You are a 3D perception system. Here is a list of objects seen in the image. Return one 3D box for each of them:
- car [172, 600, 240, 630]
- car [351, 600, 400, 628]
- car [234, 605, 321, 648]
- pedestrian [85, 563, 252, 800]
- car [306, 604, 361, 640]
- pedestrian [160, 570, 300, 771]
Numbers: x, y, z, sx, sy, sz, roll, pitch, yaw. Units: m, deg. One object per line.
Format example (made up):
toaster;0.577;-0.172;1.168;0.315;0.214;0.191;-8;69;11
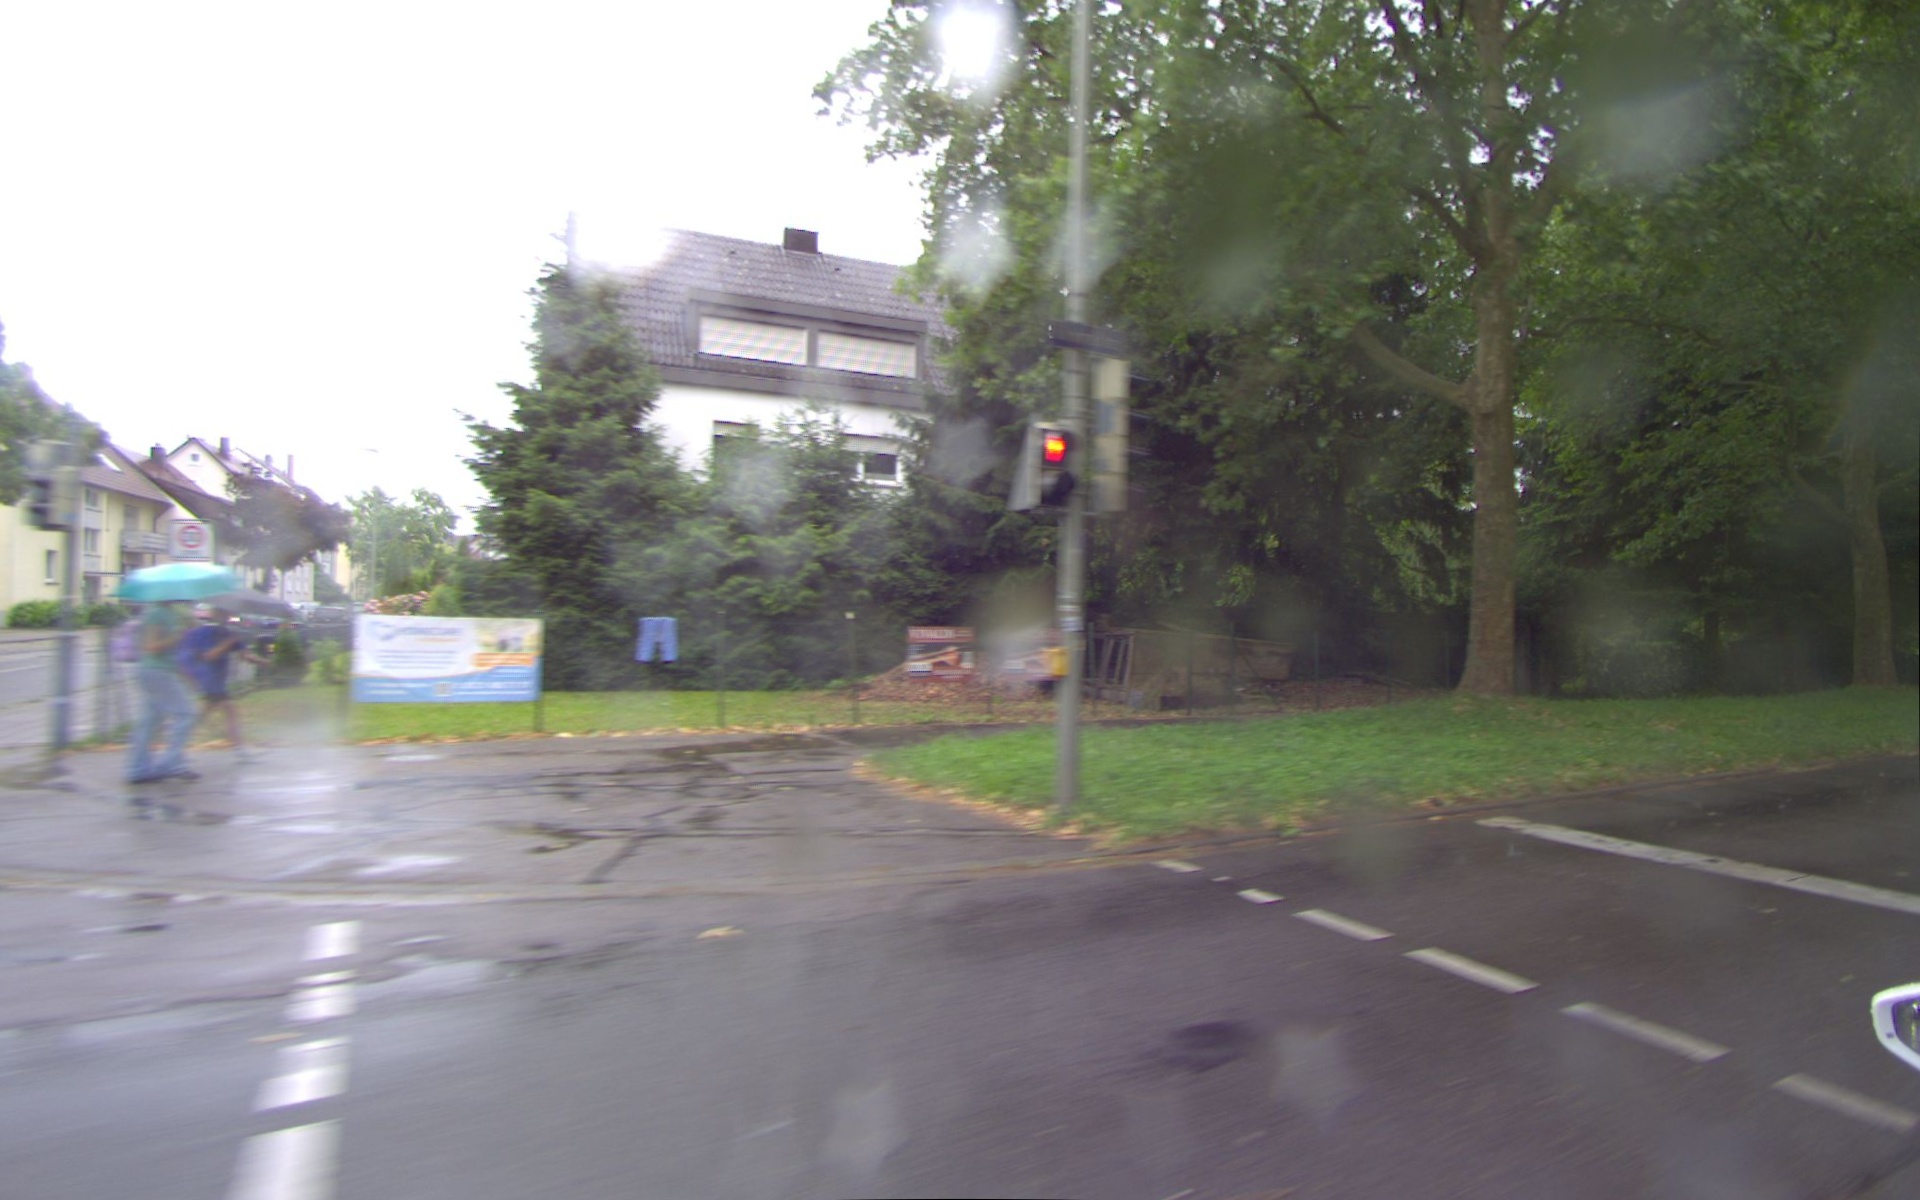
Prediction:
car;-37.203;0.717;49.656;1.668;1.390;3.715;2;-1;-20
car;-31.213;0.717;53.707;1.576;1.390;3.715;2;-1;-20
car;-24.243;0.907;35.805;1.668;1.390;3.702;2;-1;-20
pedestrian;-6.451;0.634;8.255;0.827;1.788;1.029;1;-1;-26
car;-27.752;0.966;44.556;1.514;1.535;3.432;1;-1;-23
pedestrian;-6.933;0.646;9.601;0.868;1.788;1.029;1;-1;-26
